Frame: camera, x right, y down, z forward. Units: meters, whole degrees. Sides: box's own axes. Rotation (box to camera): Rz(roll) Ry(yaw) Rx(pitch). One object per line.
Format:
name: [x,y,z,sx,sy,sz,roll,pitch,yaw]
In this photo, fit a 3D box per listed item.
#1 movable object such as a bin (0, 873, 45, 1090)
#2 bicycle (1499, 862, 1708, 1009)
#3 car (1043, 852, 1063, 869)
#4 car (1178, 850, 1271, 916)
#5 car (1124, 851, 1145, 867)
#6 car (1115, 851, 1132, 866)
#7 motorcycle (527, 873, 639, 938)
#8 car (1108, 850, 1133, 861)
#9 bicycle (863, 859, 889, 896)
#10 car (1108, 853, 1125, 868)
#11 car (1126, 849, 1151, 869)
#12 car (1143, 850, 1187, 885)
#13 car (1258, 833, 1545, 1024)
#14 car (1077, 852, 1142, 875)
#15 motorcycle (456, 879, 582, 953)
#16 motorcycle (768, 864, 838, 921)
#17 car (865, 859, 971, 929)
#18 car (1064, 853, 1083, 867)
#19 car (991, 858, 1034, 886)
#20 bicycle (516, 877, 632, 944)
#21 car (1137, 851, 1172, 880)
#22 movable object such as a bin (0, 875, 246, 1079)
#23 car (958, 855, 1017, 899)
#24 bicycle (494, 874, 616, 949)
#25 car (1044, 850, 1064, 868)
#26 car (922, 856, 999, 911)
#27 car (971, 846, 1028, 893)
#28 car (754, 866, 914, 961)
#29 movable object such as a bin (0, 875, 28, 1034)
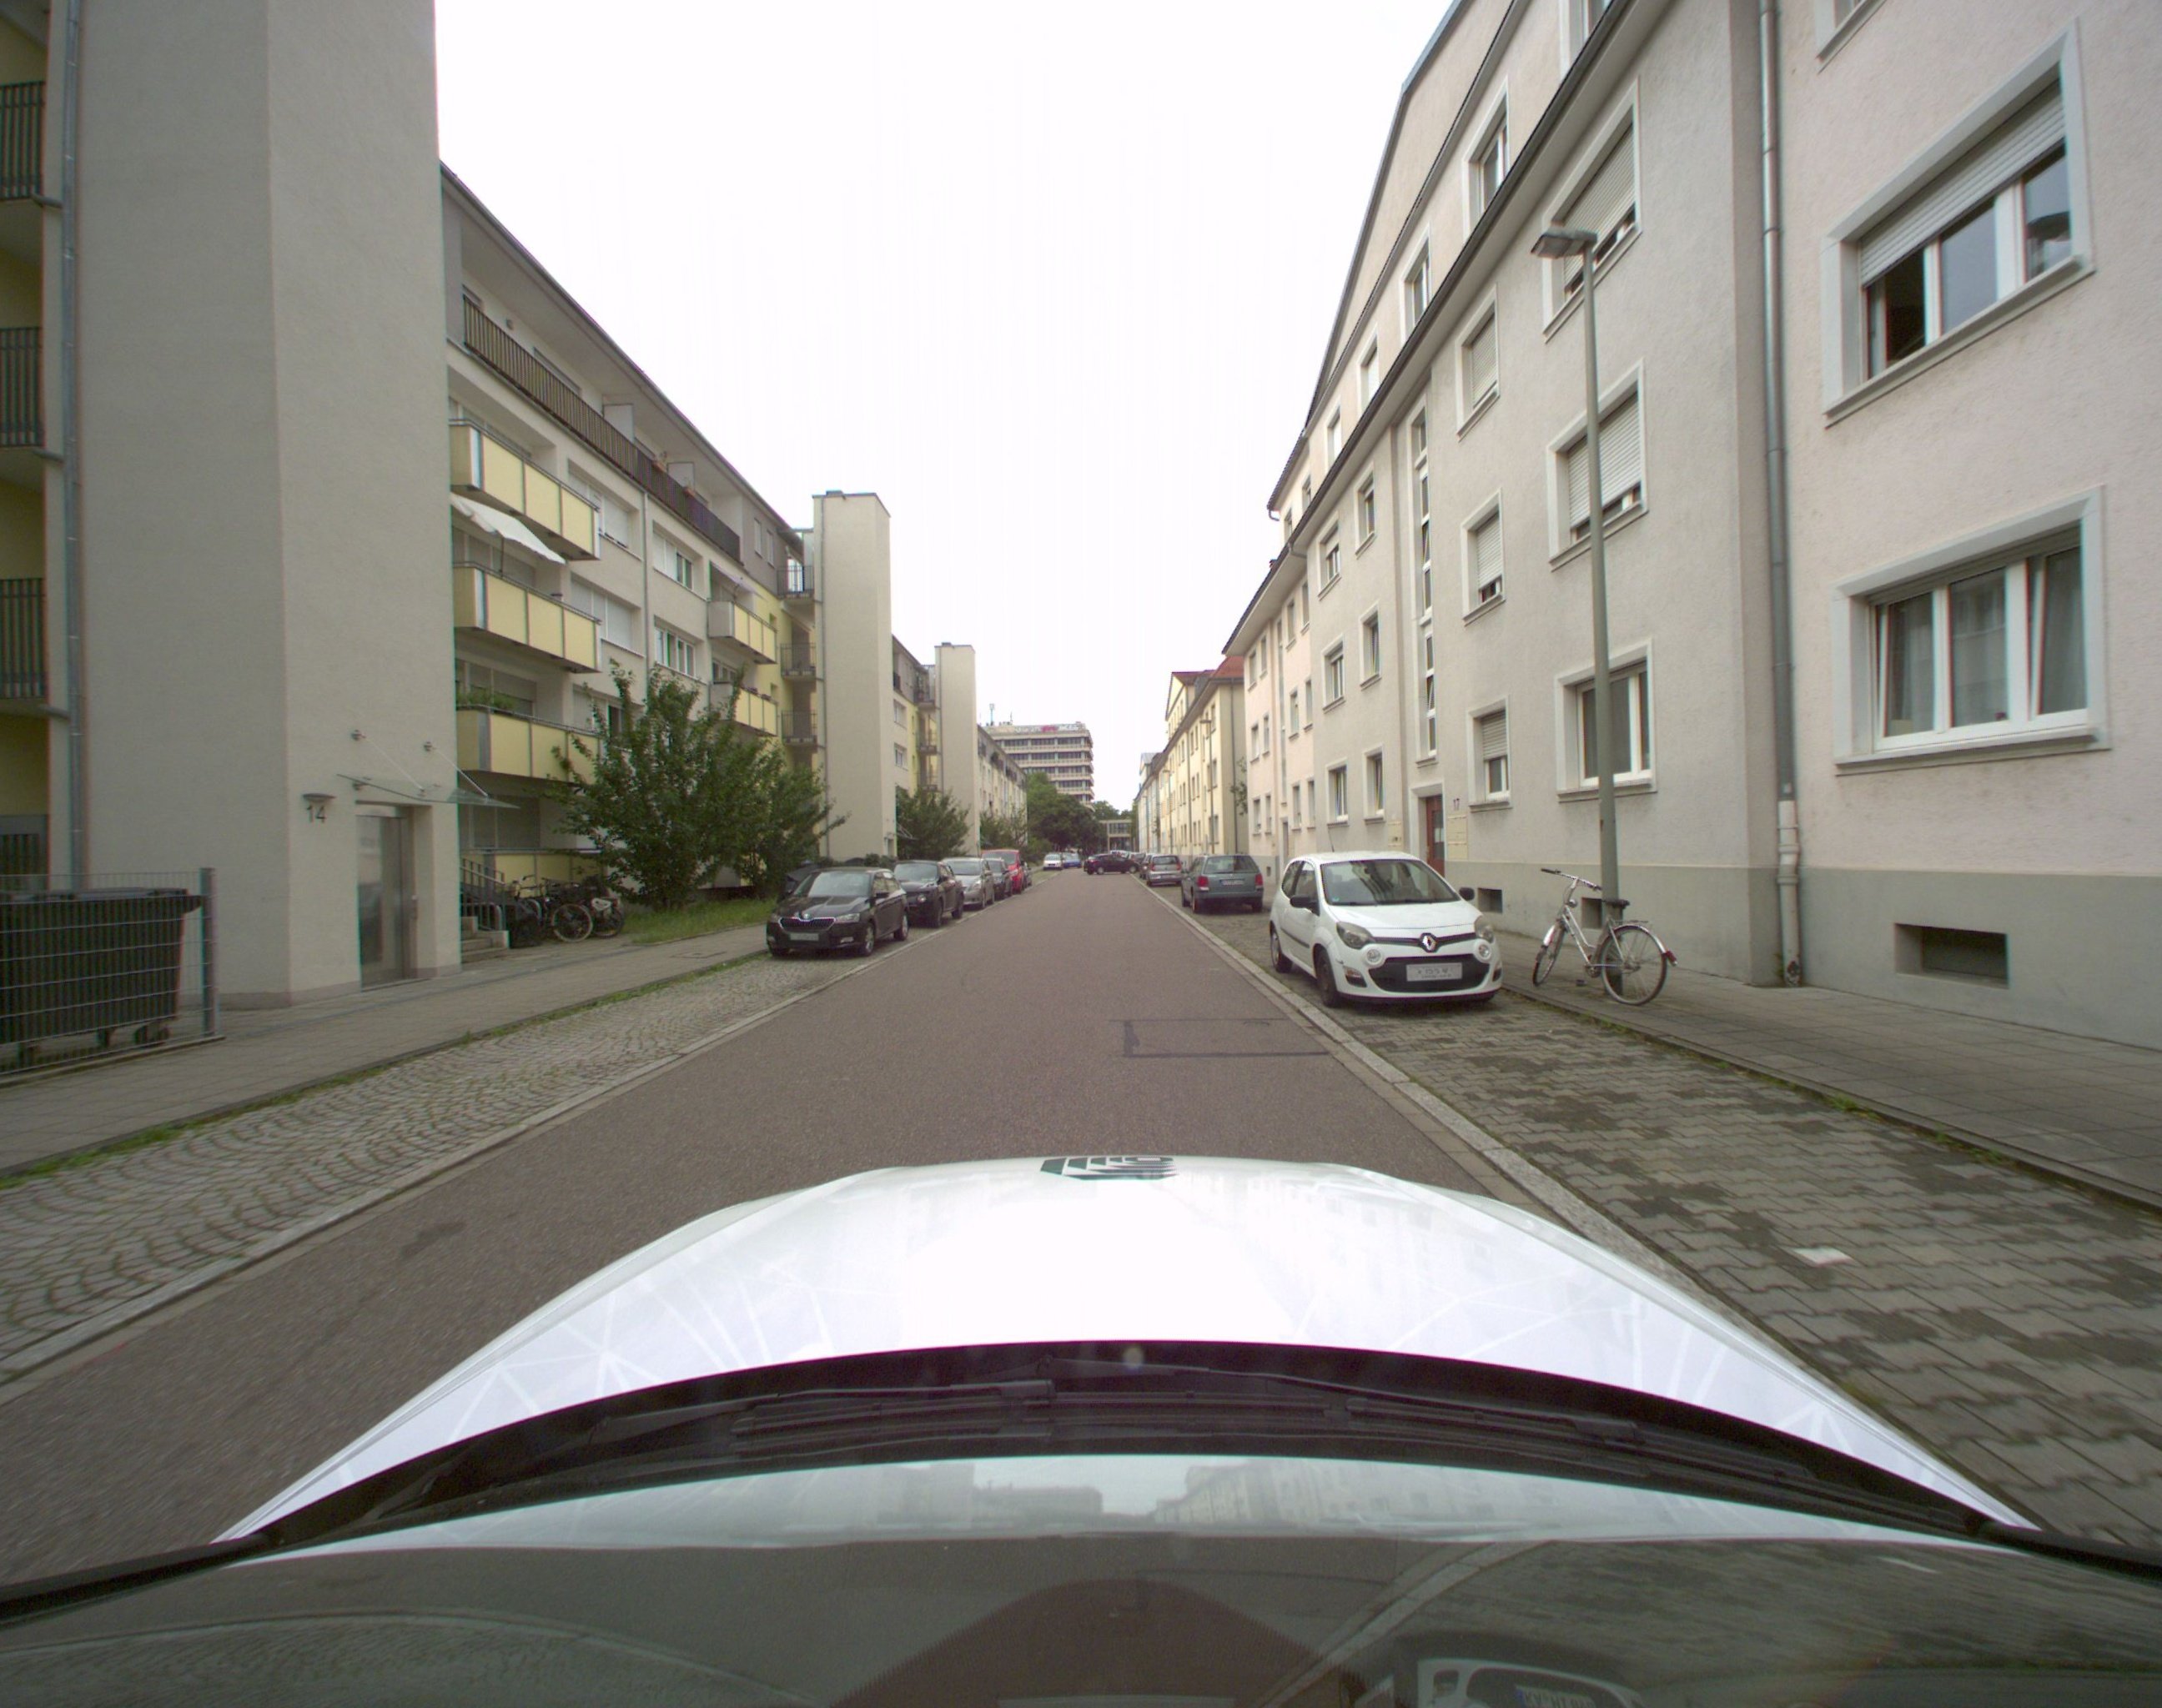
movable object such as a bin: [-8.038,0.897,5.254,0.998,1.500,1.315,-1,0,2]
bicycle: [4.795,0.676,7.690,0.603,1.140,2.125,-2,0,1]
car: [-2.630,0.612,77.562,1.714,1.570,3.871,0,0,1]
car: [3.627,0.666,21.280,1.719,1.469,4.265,-2,0,1]
car: [4.918,0.440,75.287,1.842,1.450,3.834,-2,0,2]
car: [4.894,0.549,94.014,1.813,1.642,4.093,-2,0,2]
motorcycle: [-9.727,0.995,15.946,1.745,1.129,0.593,-3,0,-3]
car: [7.333,0.206,150.209,4.314,1.790,1.860,-3,0,-5]
bicycle: [-7.008,0.777,27.939,0.551,1.192,1.725,-3,0,-6]
car: [3.790,0.646,86.640,1.718,1.476,4.506,-1,0,2]
car: [4.568,0.383,65.039,1.719,1.517,4.062,-2,0,1]
car: [3.865,0.602,37.965,1.719,1.492,4.062,-1,0,1]
car: [3.209,0.640,9.023,1.776,1.599,3.807,-2,0,2]
car: [2.053,0.663,58.650,4.239,1.433,1.894,-2,0,-25]
motorcycle: [-9.589,1.041,13.938,1.611,1.129,0.690,-3,0,-3]
motorcycle: [-6.992,0.940,20.636,0.866,1.307,2.421,-1,0,2]
car: [-3.979,0.919,20.471,1.646,1.530,3.899,0,0,4]
car: [-0.799,0.596,88.832,1.838,1.451,4.504,-1,0,3]
car: [-3.533,0.909,42.902,1.864,1.323,4.361,0,0,0]
bicycle: [-9.510,1.048,15.315,1.719,1.142,0.608,-2,0,-3]
car: [4.284,0.642,48.145,1.719,1.517,4.062,-2,0,1]
movable object such as a bin: [-7.975,0.922,6.612,0.998,1.447,1.315,-1,0,2]
car: [-3.559,0.834,31.592,1.714,1.570,4.055,0,0,1]
bicycle: [-9.461,1.020,14.679,1.719,1.225,0.608,-2,0,-3]
car: [-2.702,0.490,83.484,1.951,1.770,4.360,-1,0,-1]
car: [-3.795,0.875,26.436,1.829,1.570,4.860,0,0,-1]
car: [-3.602,0.638,36.842,2.145,1.954,4.920,0,0,-1]
car: [-4.305,0.975,14.828,1.637,1.438,3.858,0,0,1]
movable object such as a bin: [-10.391,0.930,6.978,0.998,1.447,1.315,-1,0,2]
